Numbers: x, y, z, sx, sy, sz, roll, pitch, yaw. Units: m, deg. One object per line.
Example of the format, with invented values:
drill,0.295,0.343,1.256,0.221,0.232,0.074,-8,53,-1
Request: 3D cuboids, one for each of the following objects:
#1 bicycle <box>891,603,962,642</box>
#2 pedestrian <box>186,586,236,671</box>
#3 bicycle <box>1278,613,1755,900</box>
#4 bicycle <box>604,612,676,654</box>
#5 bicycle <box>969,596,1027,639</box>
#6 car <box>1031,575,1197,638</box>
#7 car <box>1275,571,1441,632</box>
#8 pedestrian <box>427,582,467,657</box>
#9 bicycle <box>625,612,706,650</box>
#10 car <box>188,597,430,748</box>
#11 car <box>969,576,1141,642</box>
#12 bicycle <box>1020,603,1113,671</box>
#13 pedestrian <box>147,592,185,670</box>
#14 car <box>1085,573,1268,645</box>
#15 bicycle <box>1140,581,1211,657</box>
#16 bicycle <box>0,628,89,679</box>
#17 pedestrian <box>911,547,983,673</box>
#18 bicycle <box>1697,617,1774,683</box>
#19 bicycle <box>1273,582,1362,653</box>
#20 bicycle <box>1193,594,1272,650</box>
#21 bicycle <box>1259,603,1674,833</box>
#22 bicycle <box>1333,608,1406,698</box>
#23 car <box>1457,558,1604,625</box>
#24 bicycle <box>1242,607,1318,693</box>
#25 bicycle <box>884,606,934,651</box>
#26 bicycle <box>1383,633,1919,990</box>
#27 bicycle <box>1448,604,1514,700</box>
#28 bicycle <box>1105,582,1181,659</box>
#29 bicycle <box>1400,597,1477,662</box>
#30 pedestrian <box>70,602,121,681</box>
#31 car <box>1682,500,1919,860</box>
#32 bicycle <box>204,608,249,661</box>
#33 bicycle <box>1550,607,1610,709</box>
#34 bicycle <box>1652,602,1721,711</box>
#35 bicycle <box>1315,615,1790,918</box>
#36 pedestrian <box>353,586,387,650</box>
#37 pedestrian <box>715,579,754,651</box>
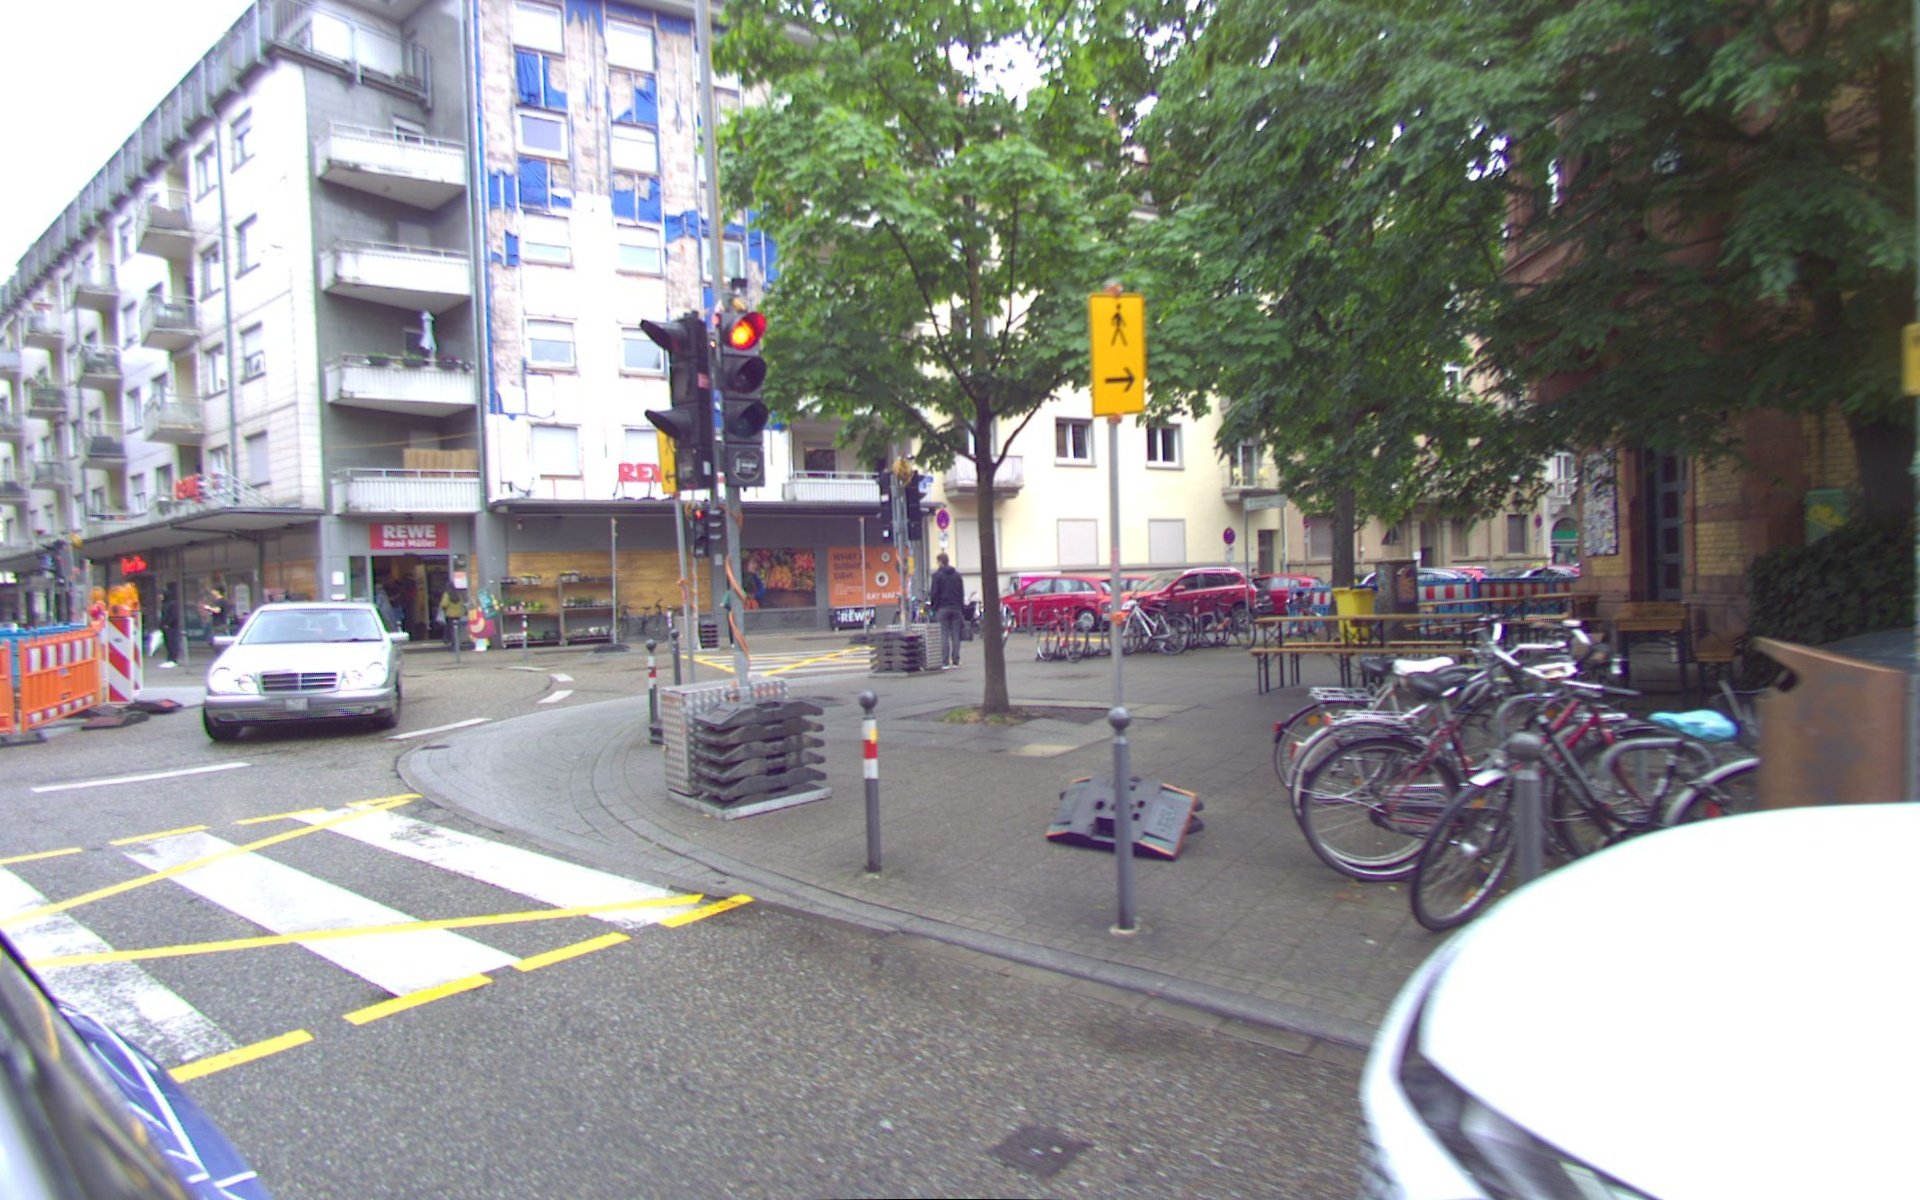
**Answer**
bicycle,-0.926,0.619,28.387,1.969,0.978,0.591,-3,3,-36
pedestrian,-17.399,0.646,23.524,0.707,1.911,0.607,-2,1,-17
bicycle,2.471,0.689,4.665,1.859,1.194,0.398,-2,1,13
bicycle,-8.247,0.847,26.117,1.669,0.978,0.568,-2,0,4
bicycle,1.024,0.442,26.602,0.588,0.978,1.979,0,3,32
car,4.579,0.211,30.287,4.445,1.684,1.978,-2,0,33
car,11.248,0.032,28.582,4.311,1.488,1.849,-3,-1,-25
pedestrian,-12.593,0.457,24.874,0.682,1.778,0.867,-2,1,-17
bicycle,-7.812,0.825,26.876,1.975,0.978,0.589,0,0,4
car,-7.778,0.707,12.585,1.828,1.409,4.997,-2,1,-25
car,2.679,0.278,28.867,4.445,1.693,1.978,-2,0,33
bicycle,1.777,0.628,17.409,0.852,1.052,2.419,-2,-1,-12
pedestrian,-19.511,0.743,24.864,0.596,1.862,0.770,-2,0,-44
car,5.527,0.215,25.746,4.311,1.652,1.849,-2,-1,-27
bicycle,3.856,0.357,18.231,0.467,1.285,1.870,-2,-2,-12
bicycle,-25.377,1.469,27.852,0.551,1.204,2.005,-2,3,43
pedestrian,-0.225,0.162,16.993,0.929,2.029,0.867,-2,0,-17
bicycle,6.536,0.404,8.563,0.404,0.456,1.379,-1,1,33
bicycle,6.105,0.267,17.180,0.741,1.100,2.383,-2,0,36
bicycle,5.069,0.397,18.948,0.579,0.968,1.728,-2,0,-17
bicycle,2.740,0.631,5.702,1.910,1.152,0.774,-2,1,10
bicycle,4.233,0.518,10.423,0.404,0.821,1.379,-2,0,33
car,17.319,-0.274,30.686,4.312,1.811,1.849,-3,-1,-29
bicycle,3.492,0.520,10.990,0.404,0.821,1.379,-2,0,33
bicycle,-1.294,0.687,25.250,0.579,0.978,2.008,-2,2,-23
bicycle,2.543,0.734,3.761,1.663,1.152,0.585,-2,1,10
bicycle,5.072,0.478,9.826,0.404,0.821,1.379,-2,0,33
bicycle,3.258,0.384,18.215,0.580,1.285,2.008,-2,-2,-12
bicycle,6.605,0.383,14.028,0.400,0.821,1.545,-2,1,3
pedestrian,-21.178,1.004,24.787,0.850,1.862,0.770,-3,0,-44
car,5.167,0.364,3.654,1.973,1.575,4.457,-1,2,1
bicycle,-20.364,0.961,28.095,2.022,1.384,0.444,-2,3,40
bicycle,5.673,0.500,9.237,0.404,0.821,1.379,-2,0,33
bicycle,6.223,0.450,8.703,0.404,0.821,1.379,-1,1,33
bicycle,2.421,0.670,4.286,1.665,1.152,0.398,-2,1,13
pedestrian,-15.008,0.447,25.762,0.536,1.596,0.696,-2,1,-17
pedestrian,-5.294,0.339,23.707,0.786,1.627,0.607,-2,1,-17
